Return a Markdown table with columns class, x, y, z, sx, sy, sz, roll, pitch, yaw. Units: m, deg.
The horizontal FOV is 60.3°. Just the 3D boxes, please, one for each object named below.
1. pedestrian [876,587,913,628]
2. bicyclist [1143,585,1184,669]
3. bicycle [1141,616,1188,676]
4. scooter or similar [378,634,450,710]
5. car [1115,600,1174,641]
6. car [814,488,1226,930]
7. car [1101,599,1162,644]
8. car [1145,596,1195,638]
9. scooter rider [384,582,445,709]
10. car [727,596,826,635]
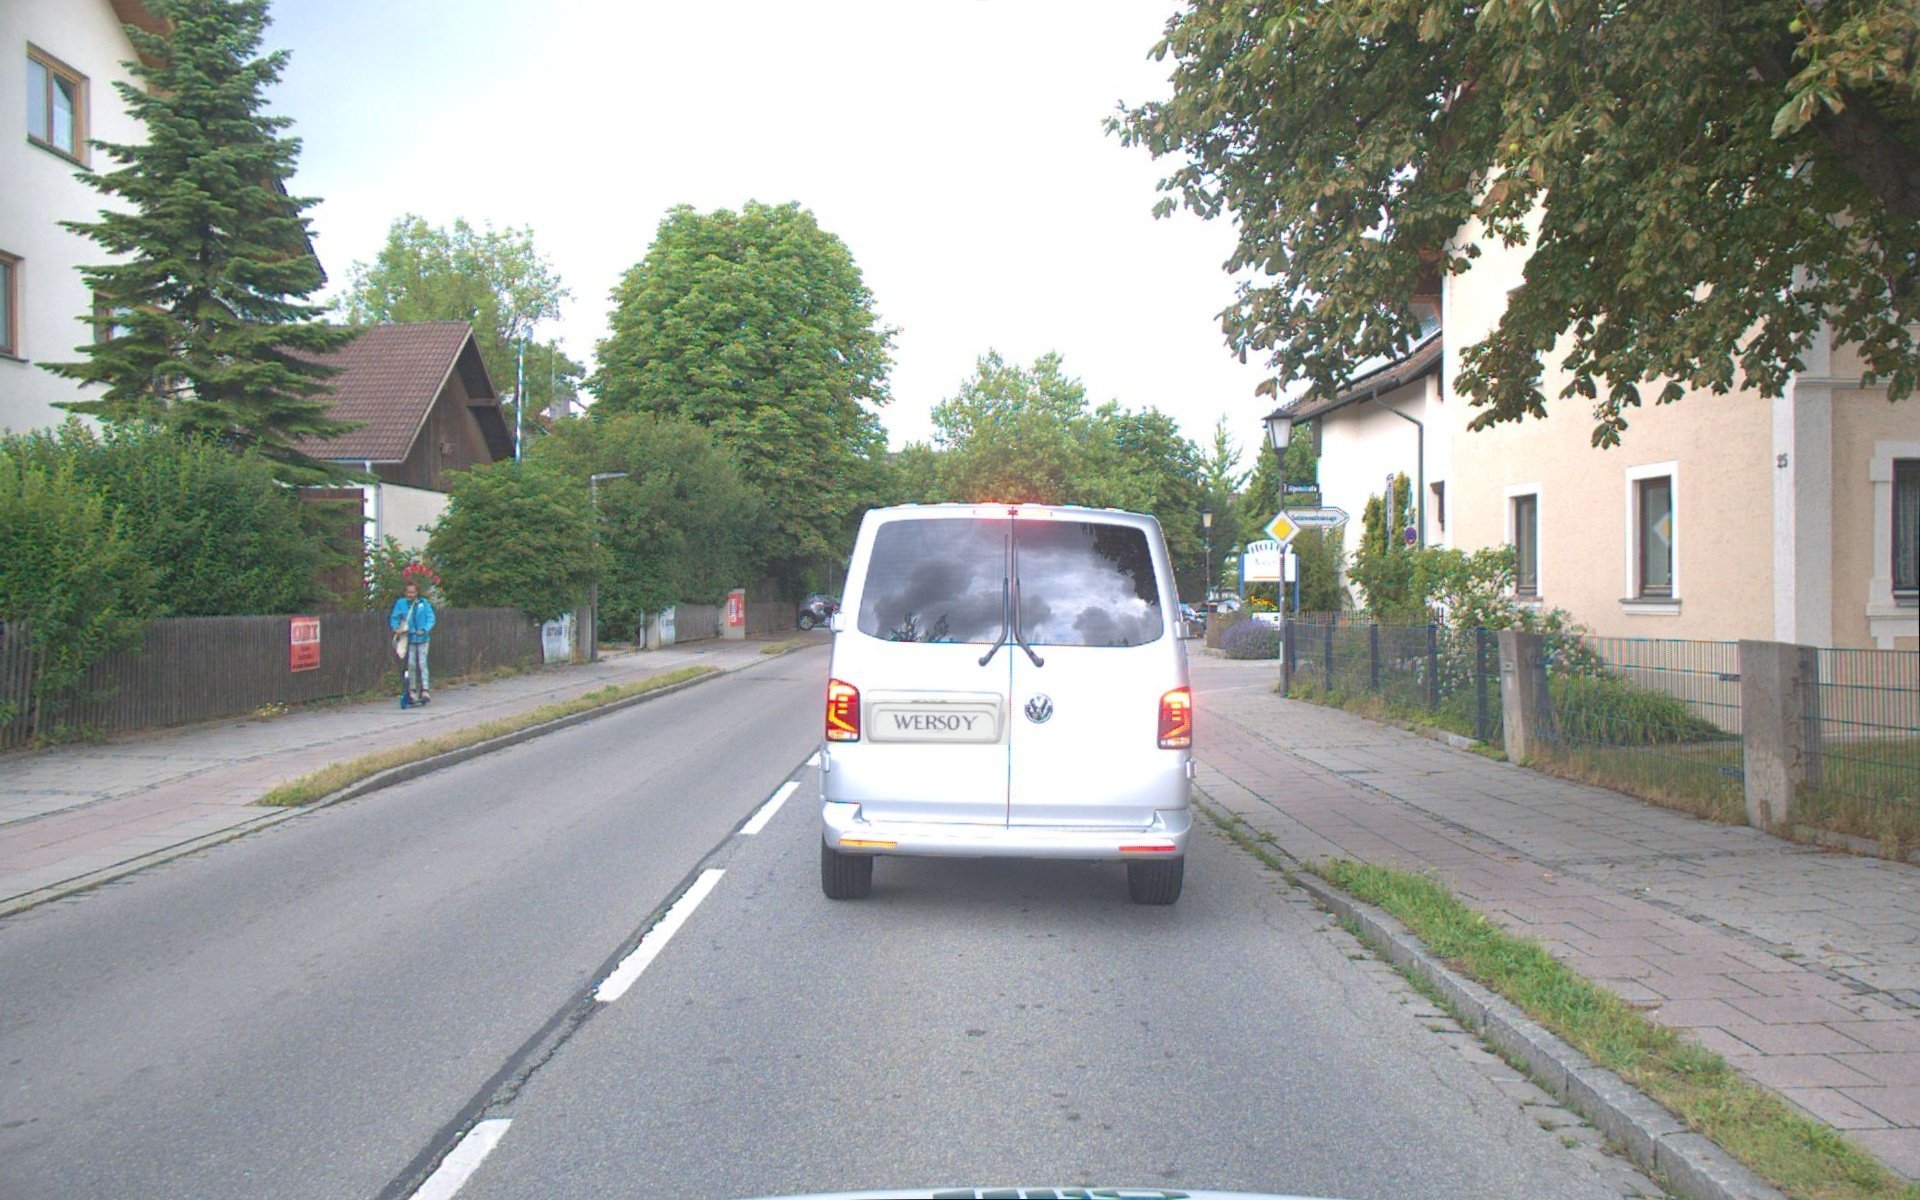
| class | x | y | z | sx | sy | sz | roll | pitch | yaw |
| --- | --- | --- | --- | --- | --- | --- | --- | --- | --- |
| pedestrian | -2.943 | 0.338 | 74.290 | 1.310 | 1.834 | 1.054 | 0 | 0 | -39 |
| bicyclist | 4.098 | 0.543 | 33.390 | 0.721 | 1.661 | 0.890 | 0 | 0 | 1 |
| bicycle | 4.115 | 0.916 | 33.412 | 0.749 | 1.163 | 1.845 | 0 | 0 | 1 |
| scooter or similar | -6.624 | 0.863 | 20.090 | 0.511 | 0.865 | 1.061 | 0 | 0 | 0 |
| car | 7.304 | 0.769 | 65.124 | 1.841 | 1.562 | 3.924 | 0 | 0 | 13 |
| car | 0.279 | 0.487 | 9.364 | 1.842 | 1.974 | 3.920 | 0 | 0 | 0 |
| car | 6.189 | 0.738 | 59.365 | 1.841 | 1.562 | 3.924 | 0 | 0 | 11 |
| car | 9.188 | 0.734 | 72.294 | 1.841 | 1.779 | 4.084 | 0 | 0 | 12 |
| scooter rider | -6.627 | 0.544 | 20.099 | 0.492 | 1.515 | 0.716 | 0 | 0 | 0 |
| car | -7.448 | 0.619 | 66.966 | 3.913 | 1.512 | 1.996 | 0 | 0 | -9 |
